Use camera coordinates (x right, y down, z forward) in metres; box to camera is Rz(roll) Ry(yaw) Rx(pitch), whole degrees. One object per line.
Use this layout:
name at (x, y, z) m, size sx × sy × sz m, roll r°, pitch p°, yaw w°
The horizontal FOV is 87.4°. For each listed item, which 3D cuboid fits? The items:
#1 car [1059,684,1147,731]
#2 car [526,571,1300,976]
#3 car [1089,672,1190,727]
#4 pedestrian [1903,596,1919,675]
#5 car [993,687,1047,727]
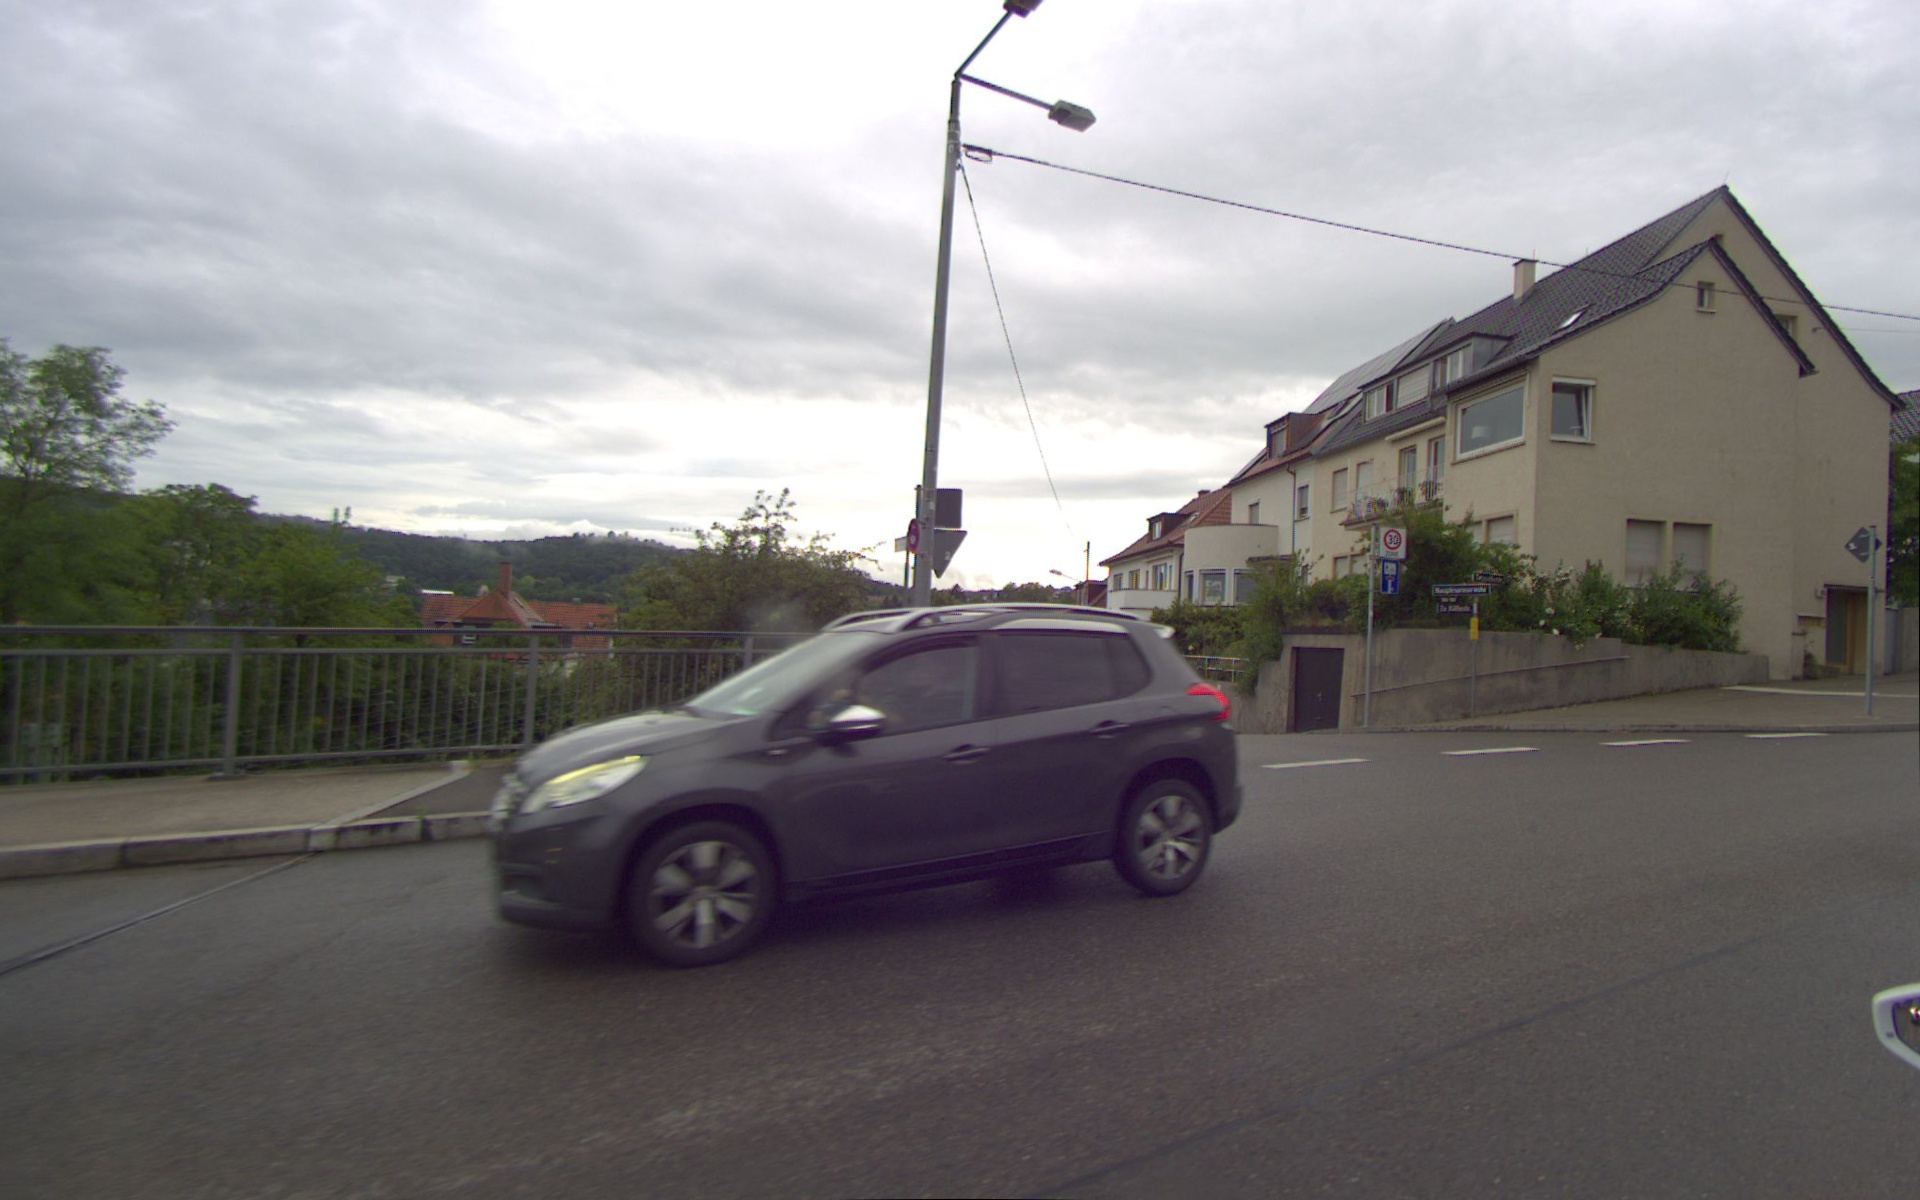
car at (4.436, 3.433, 31.777) m, size 1.774 × 1.286 × 4.000 m, roll 4°, pitch -7°, yaw -6°
car at (-0.207, 0.742, 5.579) m, size 3.949 × 1.565 × 1.728 m, roll 1°, pitch -2°, yaw -27°
car at (4.794, 2.748, 27.336) m, size 1.622 × 1.286 × 4.000 m, roll 4°, pitch -7°, yaw -6°
pedestrian at (23.302, 0.849, 24.105) m, size 0.719 × 1.882 × 0.783 m, roll 1°, pitch 0°, yaw -30°
car at (2.639, 4.814, 44.840) m, size 1.670 × 1.661 × 3.202 m, roll 0°, pitch -7°, yaw -10°
